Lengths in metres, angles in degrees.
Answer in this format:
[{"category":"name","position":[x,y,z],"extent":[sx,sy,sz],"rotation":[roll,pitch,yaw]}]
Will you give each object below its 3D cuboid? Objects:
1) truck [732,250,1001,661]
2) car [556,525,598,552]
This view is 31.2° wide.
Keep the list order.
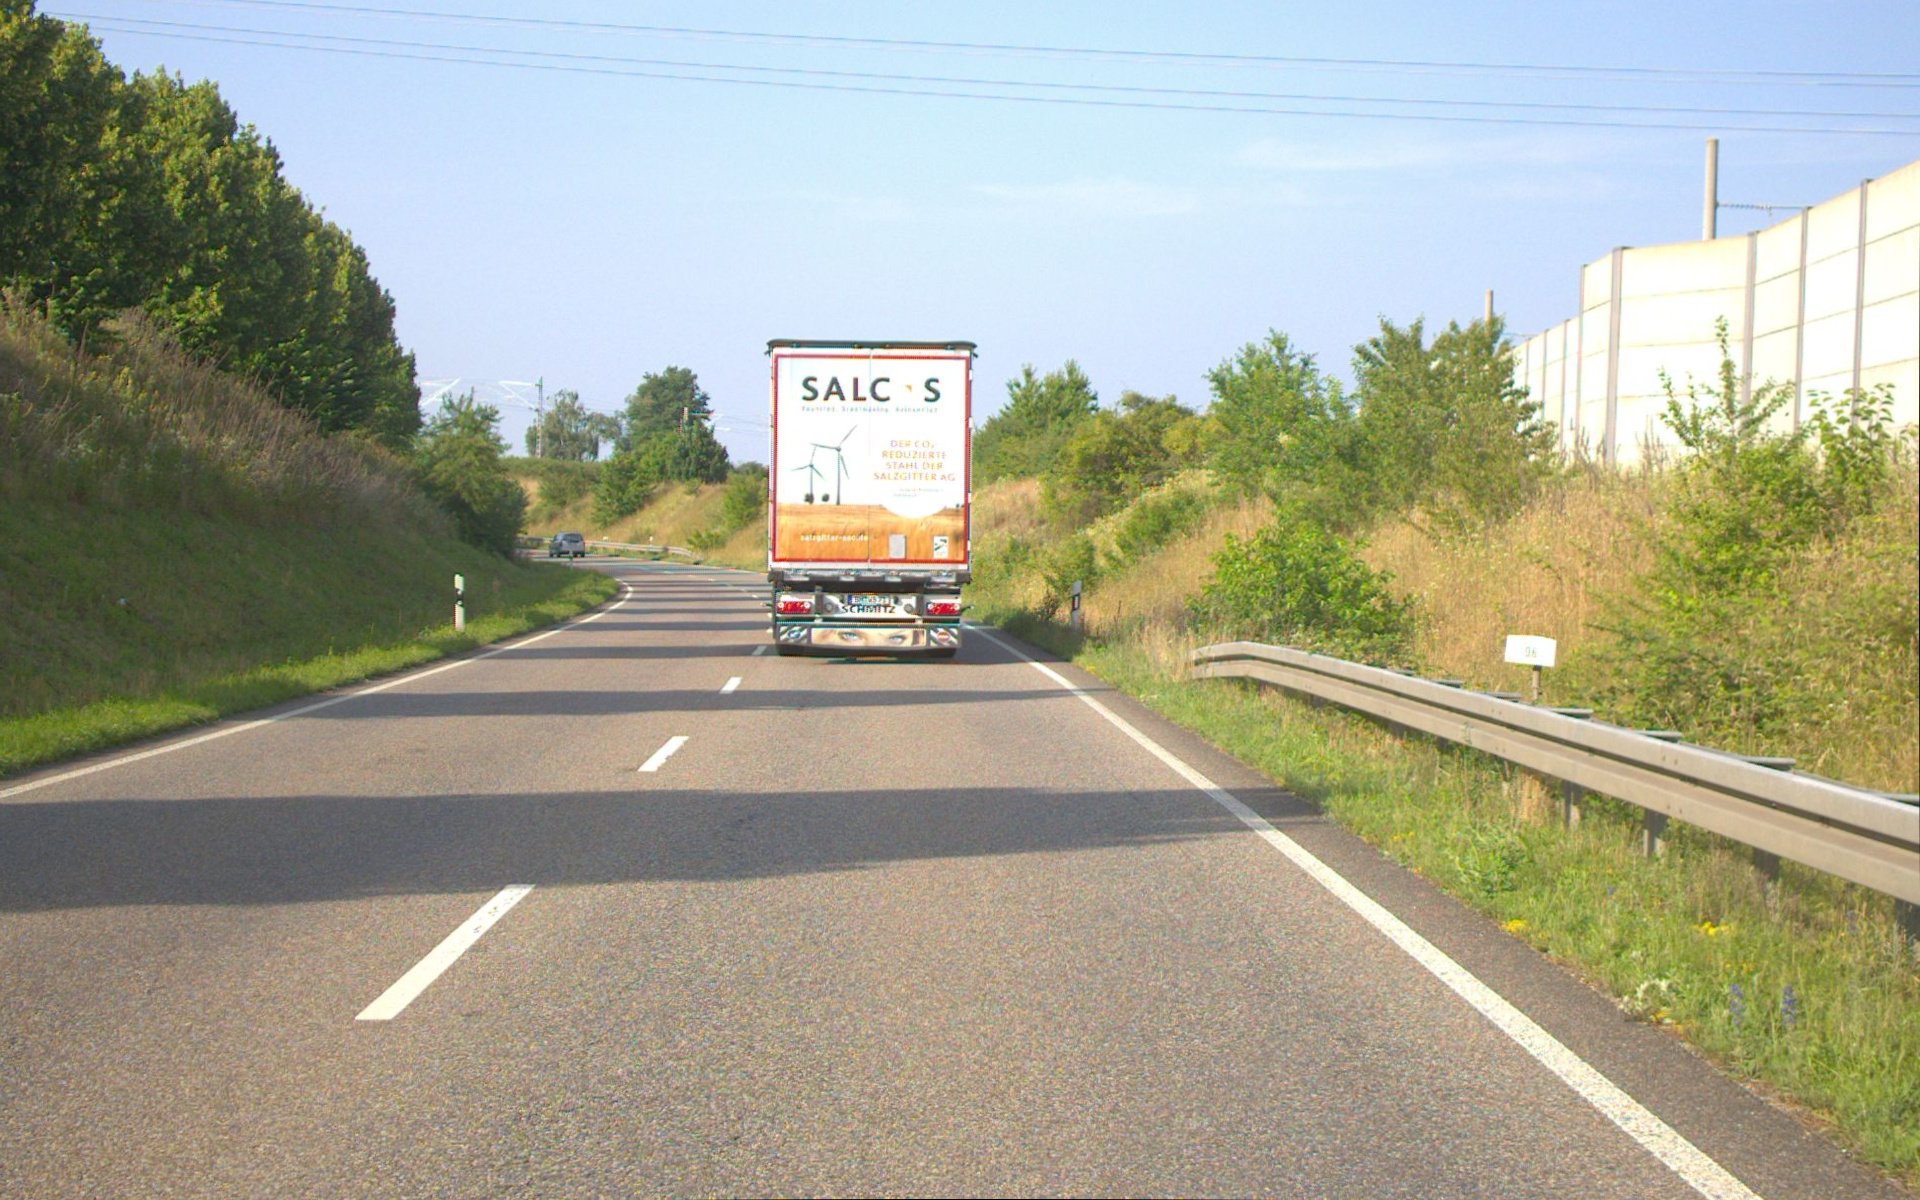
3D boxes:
[{"category":"truck","position":[-1.352,-1.974,48.843],"extent":[3.290,5.072,12.039],"rotation":[1,2,-2]},{"category":"car","position":[-23.239,-3.740,208.899],"extent":[2.046,1.576,4.360],"rotation":[1,1,0]}]
